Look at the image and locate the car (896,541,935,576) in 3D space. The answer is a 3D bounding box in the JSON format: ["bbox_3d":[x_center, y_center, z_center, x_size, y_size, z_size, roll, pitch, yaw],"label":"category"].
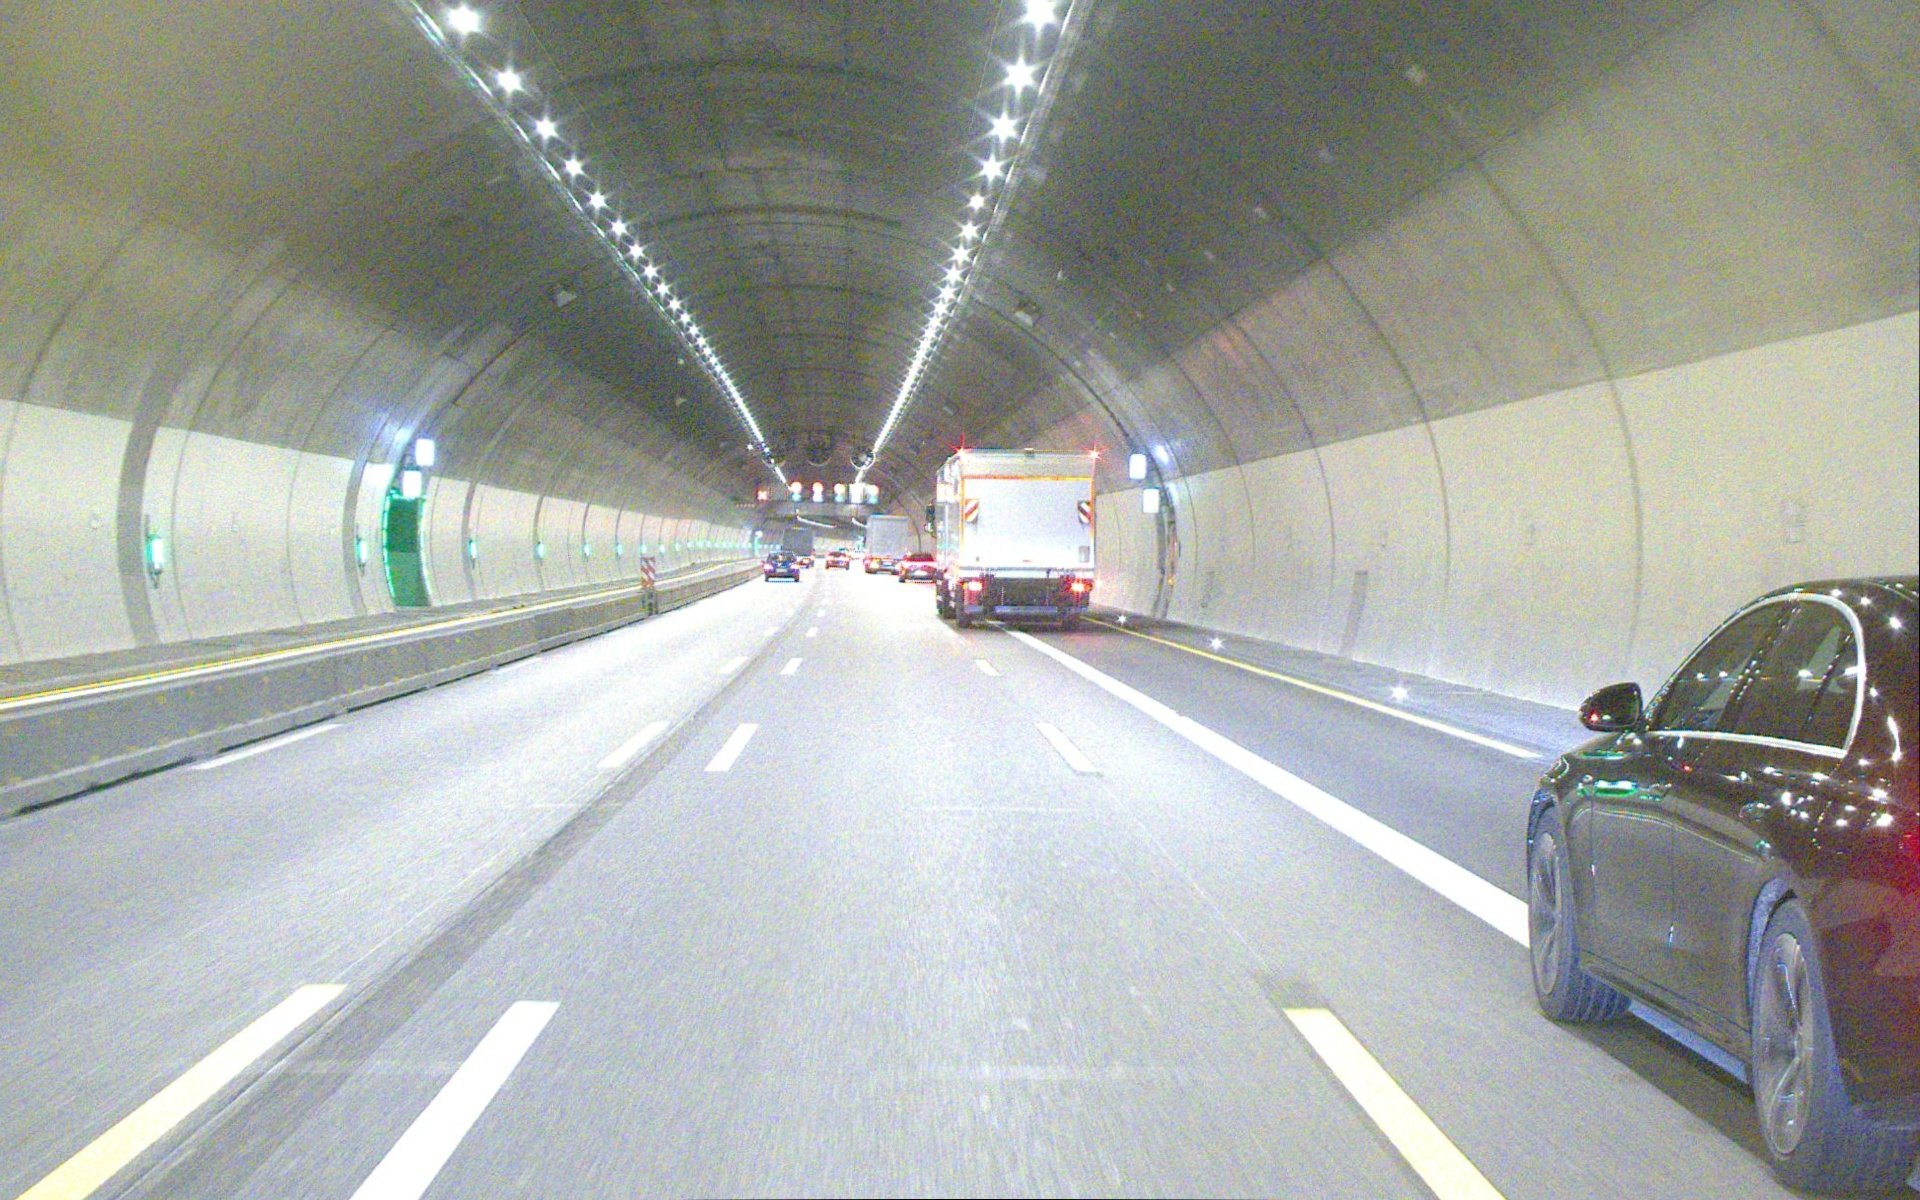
[{"bbox_3d":[-2.023,-1.898,156.616,1.739,1.456,3.960,2,1,-1],"label":"car"}]

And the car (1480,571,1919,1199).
[{"bbox_3d":[2.800,0.693,9.346,1.925,1.467,4.954,2,1,-1],"label":"car"}]

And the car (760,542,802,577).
[{"bbox_3d":[-8.142,-1.855,156.523,1.758,1.456,4.119,2,1,-2],"label":"car"}]

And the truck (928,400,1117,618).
[{"bbox_3d":[1.108,-1.690,68.747,3.091,3.904,10.368,3,0,-2],"label":"truck"}]

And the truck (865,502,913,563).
[{"bbox_3d":[-4.844,-4.605,237.429,3.066,3.904,10.368,3,0,-1],"label":"truck"}]

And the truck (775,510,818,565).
[{"bbox_3d":[-12.578,-4.786,265.524,3.066,3.904,10.368,3,0,-2],"label":"truck"}]
